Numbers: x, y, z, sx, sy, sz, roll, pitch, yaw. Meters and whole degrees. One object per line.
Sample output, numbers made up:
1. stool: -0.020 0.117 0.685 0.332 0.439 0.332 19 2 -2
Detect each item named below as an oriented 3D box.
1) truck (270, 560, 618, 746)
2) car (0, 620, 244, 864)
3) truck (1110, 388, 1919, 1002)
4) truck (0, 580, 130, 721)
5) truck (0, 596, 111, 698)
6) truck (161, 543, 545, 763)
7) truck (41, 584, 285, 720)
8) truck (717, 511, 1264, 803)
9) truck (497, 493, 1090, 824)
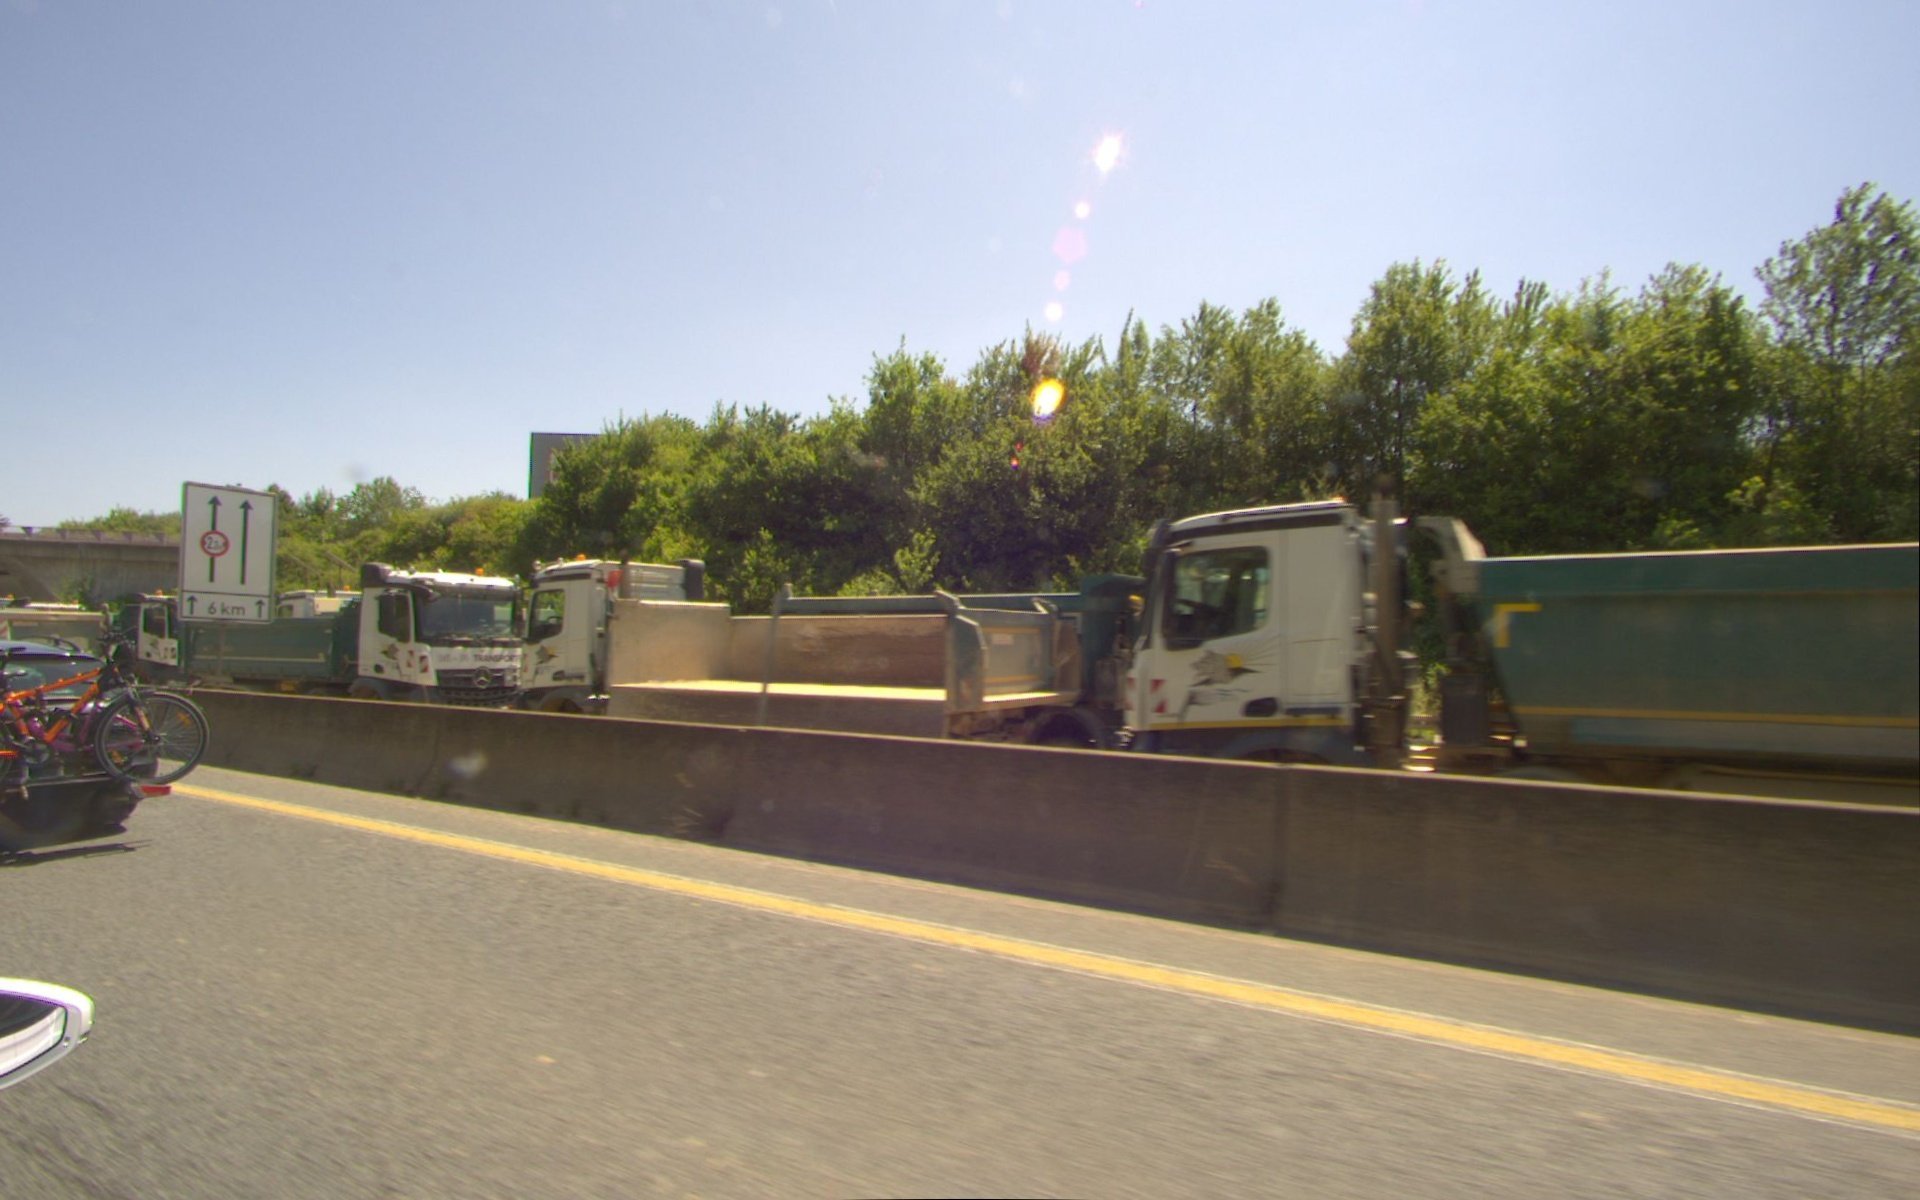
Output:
1. truck: -12.157 1.142 23.131 9.464 3.602 2.683 -1 -2 32
2. car: -7.789 0.945 7.831 4.878 1.509 1.896 -1 -3 33
3. truck: 5.732 0.595 7.195 8.965 3.555 2.530 -1 -2 32
4. truck: -27.865 1.411 29.257 9.464 3.602 2.683 -1 -2 32
5. truck: -34.913 1.676 37.031 9.467 3.420 2.683 -1 -2 33
6. truck: -12.403 0.977 20.036 9.464 3.602 2.535 -1 -2 32
7. truck: -24.157 1.484 30.147 9.464 3.602 2.683 -1 -2 32
8. truck: 0.203 0.791 15.517 8.259 3.555 2.683 -1 -2 32
9. truck: -2.718 0.727 14.182 8.815 3.555 2.530 -1 -2 32
